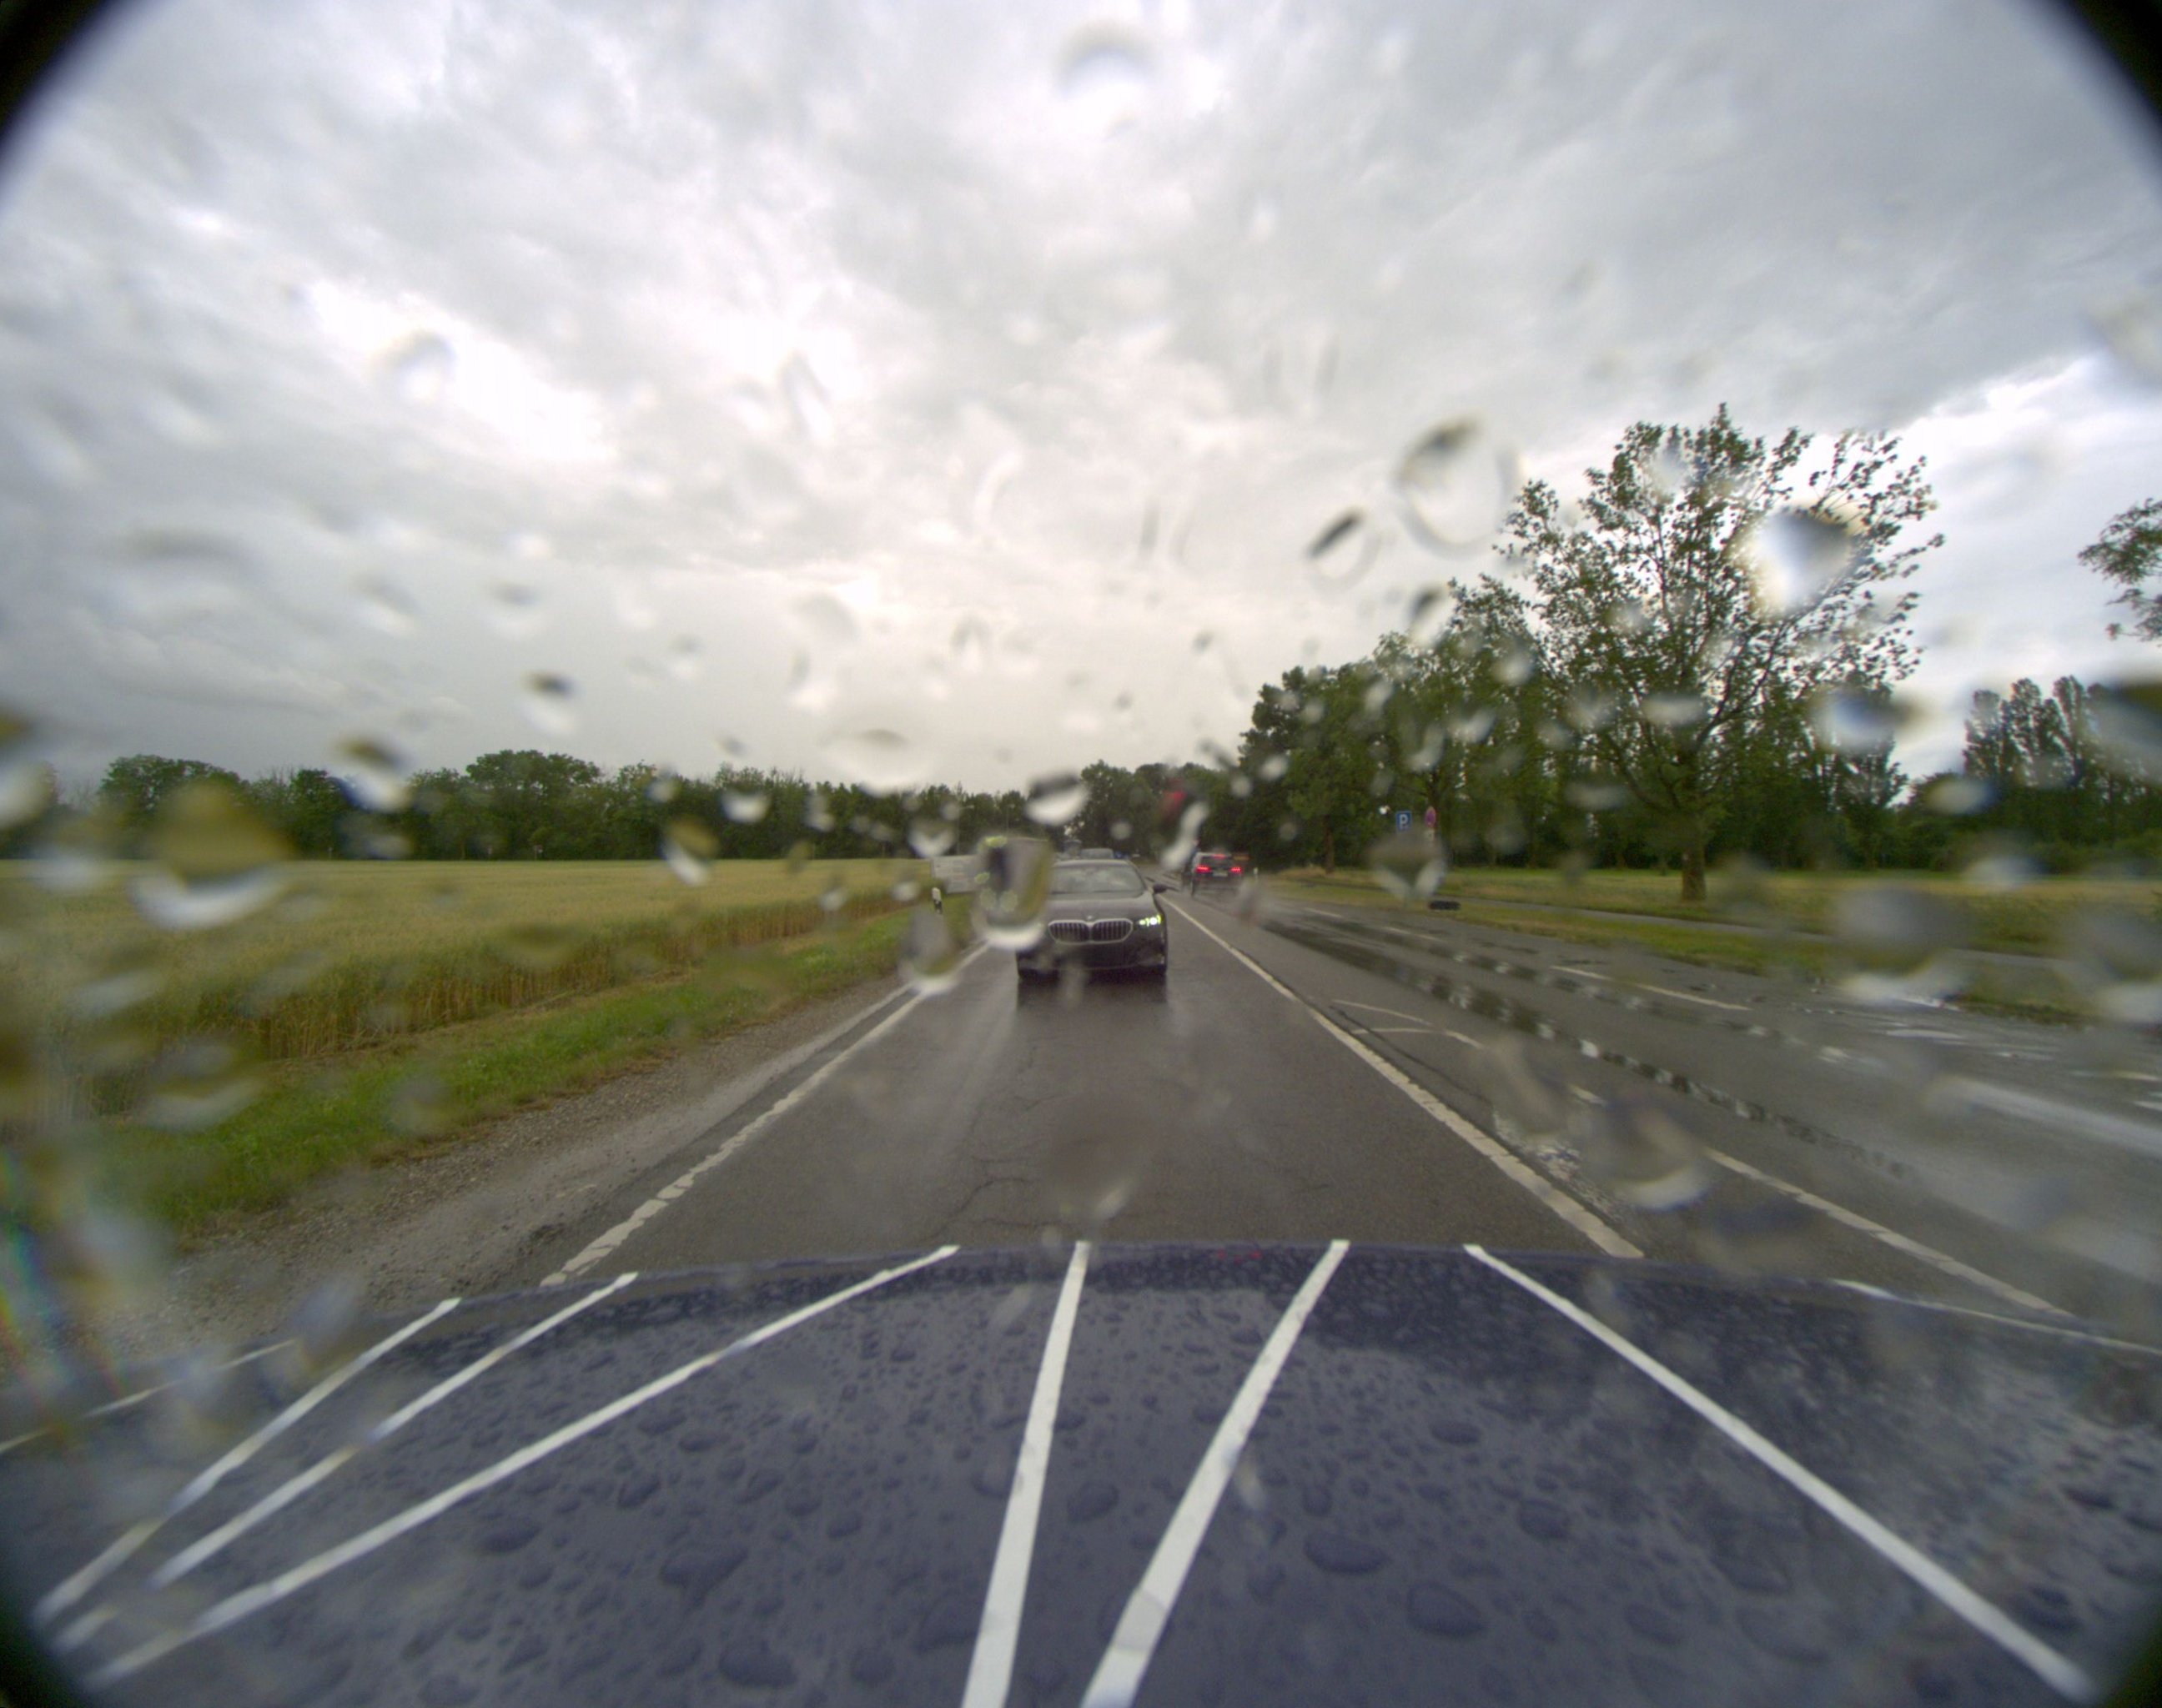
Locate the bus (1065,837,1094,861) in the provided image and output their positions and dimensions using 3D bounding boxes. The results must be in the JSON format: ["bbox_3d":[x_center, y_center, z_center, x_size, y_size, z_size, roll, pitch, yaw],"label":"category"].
[{"bbox_3d":[-0.109,-0.733,115.779,2.854,3.417,14.300,0,0,6],"label":"bus"}]

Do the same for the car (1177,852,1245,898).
[{"bbox_3d":[4.971,0.740,29.584,1.921,1.622,4.357,1,1,1],"label":"car"}]

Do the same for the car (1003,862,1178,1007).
[{"bbox_3d":[0.163,0.910,10.362,1.891,1.484,4.036,-1,0,2],"label":"car"}]

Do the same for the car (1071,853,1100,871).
[{"bbox_3d":[0.347,0.709,67.829,1.893,1.522,4.498,-2,0,-9],"label":"car"}]

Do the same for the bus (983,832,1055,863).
[{"bbox_3d":[-7.689,-0.813,97.563,2.991,3.665,14.317,1,0,23],"label":"bus"}]

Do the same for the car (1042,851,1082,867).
[{"bbox_3d":[-1.967,0.524,77.565,1.896,1.522,4.491,-2,0,-34],"label":"car"}]

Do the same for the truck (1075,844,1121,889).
[{"bbox_3d":[0.805,0.557,38.975,2.076,2.050,5.768,-3,1,-1],"label":"truck"}]

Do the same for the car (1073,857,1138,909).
[{"bbox_3d":[0.788,0.879,25.003,1.891,1.482,4.192,-2,0,1],"label":"car"}]
